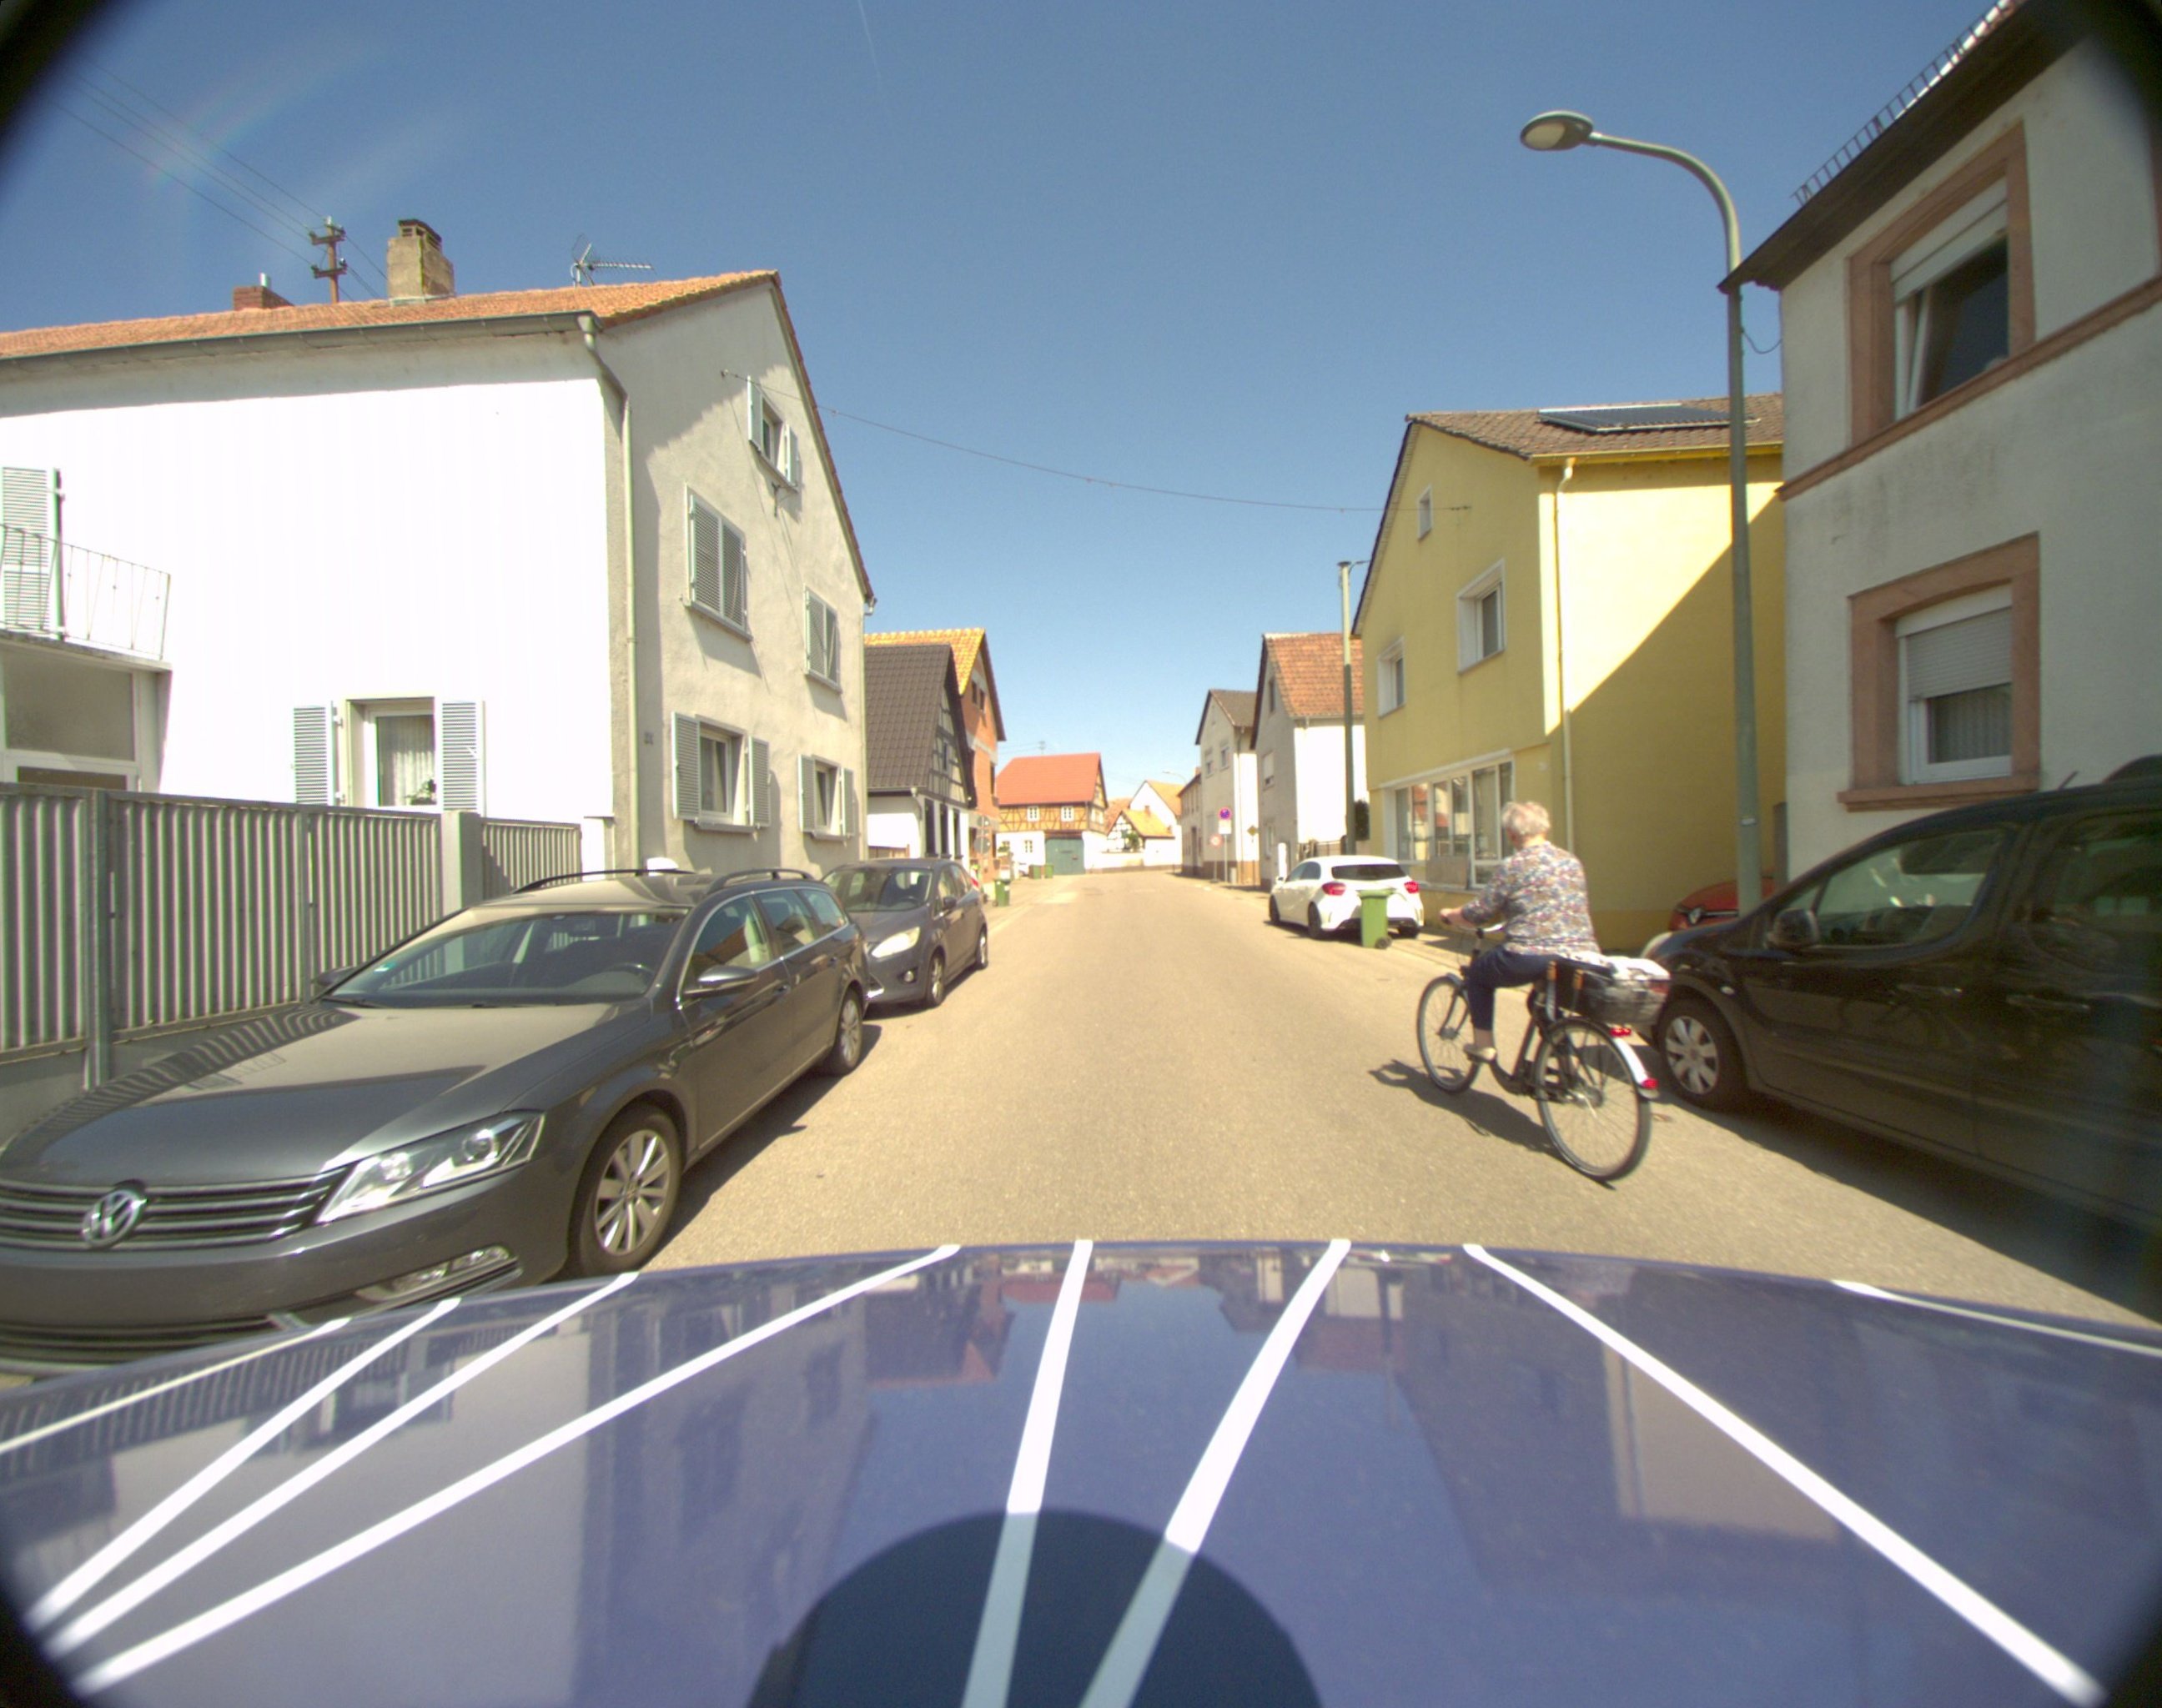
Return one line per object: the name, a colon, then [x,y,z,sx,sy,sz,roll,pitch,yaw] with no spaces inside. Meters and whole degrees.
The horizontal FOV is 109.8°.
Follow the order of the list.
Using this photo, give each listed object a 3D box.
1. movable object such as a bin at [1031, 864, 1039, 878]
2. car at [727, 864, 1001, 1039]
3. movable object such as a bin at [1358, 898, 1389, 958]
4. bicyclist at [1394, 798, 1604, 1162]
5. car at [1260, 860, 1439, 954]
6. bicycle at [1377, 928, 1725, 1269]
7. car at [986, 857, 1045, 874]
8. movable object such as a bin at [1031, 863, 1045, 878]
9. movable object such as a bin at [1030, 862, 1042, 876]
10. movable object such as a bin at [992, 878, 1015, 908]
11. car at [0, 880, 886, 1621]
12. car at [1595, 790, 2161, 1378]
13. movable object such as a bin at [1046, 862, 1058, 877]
movable object such as a bin: [-3.306,1.223,54.921,0.465,0.965,0.496,-1,0,10]
car: [-2.282,0.948,9.434,1.801,1.551,4.632,-1,0,3]
movable object such as a bin: [4.582,1.148,11.895,0.425,0.899,0.497,-1,1,21]
bicyclist: [2.185,0.622,4.045,0.705,1.760,0.625,-3,1,-1]
car: [4.817,0.869,14.354,1.839,1.455,4.270,-1,0,-1]
bicycle: [2.222,1.054,3.950,0.591,1.141,1.948,0,0,-1]
car: [-5.753,1.021,66.881,4.759,1.443,2.002,-1,0,14]
movable object such as a bin: [-3.034,1.153,53.654,0.763,1.066,0.671,-1,0,-30]
movable object such as a bin: [-3.442,1.154,58.021,0.721,1.075,0.756,-1,0,7]
movable object such as a bin: [-2.493,1.256,24.461,0.538,0.908,0.552,-1,1,20]
car: [-2.606,0.986,4.005,1.824,1.499,4.582,-1,0,2]
car: [4.291,0.691,2.935,1.839,1.827,4.354,-1,0,3]
movable object such as a bin: [-2.125,1.126,55.710,0.688,1.085,0.638,-1,0,11]
